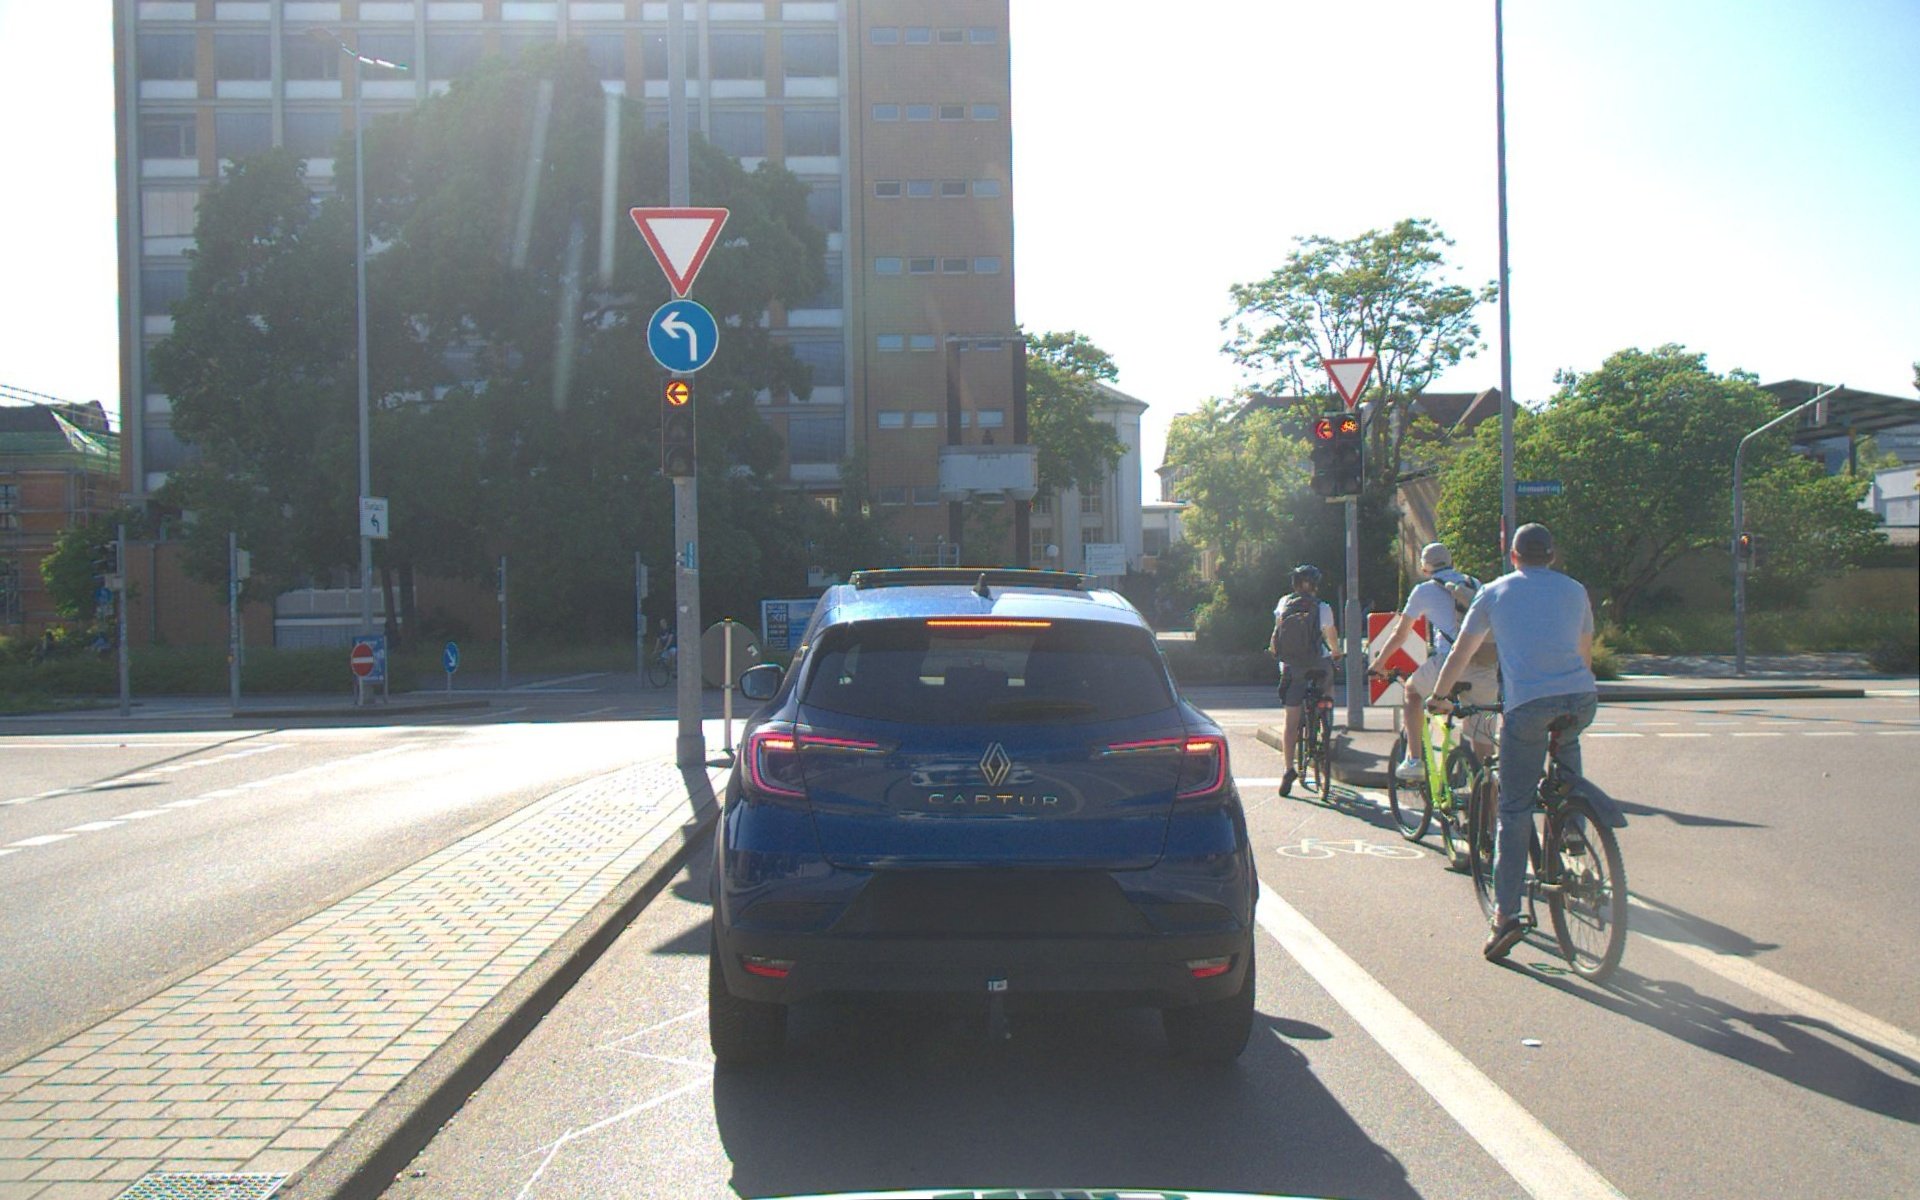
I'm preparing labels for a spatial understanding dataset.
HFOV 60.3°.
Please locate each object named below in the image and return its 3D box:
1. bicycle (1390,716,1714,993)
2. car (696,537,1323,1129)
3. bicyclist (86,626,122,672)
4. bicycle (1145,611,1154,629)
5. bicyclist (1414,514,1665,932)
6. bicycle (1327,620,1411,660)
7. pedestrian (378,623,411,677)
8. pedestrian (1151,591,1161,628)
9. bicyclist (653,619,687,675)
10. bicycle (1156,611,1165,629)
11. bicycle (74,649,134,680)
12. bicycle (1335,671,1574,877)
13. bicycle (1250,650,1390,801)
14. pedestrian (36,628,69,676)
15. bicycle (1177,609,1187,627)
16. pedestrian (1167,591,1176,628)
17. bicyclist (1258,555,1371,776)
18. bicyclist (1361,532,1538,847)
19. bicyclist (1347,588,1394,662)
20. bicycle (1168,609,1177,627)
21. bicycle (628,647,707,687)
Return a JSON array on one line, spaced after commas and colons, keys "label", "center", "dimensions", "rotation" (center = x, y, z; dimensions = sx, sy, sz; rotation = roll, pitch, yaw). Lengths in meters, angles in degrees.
[{"label": "bicycle", "center": [2.508, 1.036, 7.279], "dimensions": [0.725, 0.911, 1.978], "rotation": [1, 0, 0]}, {"label": "car", "center": [0.066, 0.665, 6.687], "dimensions": [1.767, 1.660, 3.998], "rotation": [1, 0, -3]}, {"label": "bicyclist", "center": [-27.603, 1.589, 53.325], "dimensions": [0.918, 1.454, 0.598], "rotation": [-1, 0, 24]}, {"label": "bicycle", "center": [10.804, 1.139, 94.228], "dimensions": [0.397, 0.990, 1.684], "rotation": [1, 0, 3]}, {"label": "bicyclist", "center": [2.513, 0.506, 7.276], "dimensions": [0.736, 1.698, 1.016], "rotation": [1, 0, 0]}, {"label": "bicycle", "center": [10.564, 1.031, 42.742], "dimensions": [2.037, 0.946, 0.697], "rotation": [-2, 1, 9]}, {"label": "pedestrian", "center": [-17.347, 1.537, 50.725], "dimensions": [0.721, 1.631, 0.599], "rotation": [-1, 0, 15]}, {"label": "pedestrian", "center": [10.806, 0.510, 91.201], "dimensions": [0.465, 2.049, 0.523], "rotation": [-1, 0, 5]}, {"label": "bicyclist", "center": [-7.665, 1.235, 43.652], "dimensions": [0.728, 1.466, 0.593], "rotation": [-1, 0, -27]}, {"label": "bicycle", "center": [11.413, 1.149, 94.194], "dimensions": [0.397, 0.990, 1.684], "rotation": [1, 0, 3]}, {"label": "bicycle", "center": [-27.598, 2.081, 53.321], "dimensions": [2.035, 0.981, 0.598], "rotation": [-1, 0, 25]}, {"label": "bicycle", "center": [2.876, 0.975, 9.850], "dimensions": [0.646, 1.020, 1.967], "rotation": [1, 0, -6]}, {"label": "bicycle", "center": [2.766, 0.933, 12.929], "dimensions": [0.723, 1.012, 2.174], "rotation": [1, 0, 3]}, {"label": "pedestrian", "center": [-30.618, 1.744, 55.788], "dimensions": [0.842, 1.598, 0.559], "rotation": [-1, 0, 21]}, {"label": "bicycle", "center": [12.690, 1.026, 94.594], "dimensions": [0.397, 0.990, 1.684], "rotation": [1, 0, 3]}, {"label": "pedestrian", "center": [11.836, 0.533, 92.567], "dimensions": [0.465, 2.049, 0.468], "rotation": [-1, 0, 5]}, {"label": "bicyclist", "center": [2.765, 0.498, 12.981], "dimensions": [0.711, 1.657, 0.969], "rotation": [1, 0, 3]}, {"label": "bicyclist", "center": [2.888, 0.507, 9.847], "dimensions": [0.633, 1.769, 1.065], "rotation": [1, 0, -6]}, {"label": "bicyclist", "center": [10.610, 0.639, 42.772], "dimensions": [1.078, 1.900, 0.653], "rotation": [-1, 0, 10]}, {"label": "bicycle", "center": [12.165, 1.017, 94.573], "dimensions": [0.397, 0.990, 1.684], "rotation": [1, 0, 3]}, {"label": "bicycle", "center": [-7.713, 1.759, 43.625], "dimensions": [1.982, 0.981, 0.593], "rotation": [-1, 0, -28]}]
